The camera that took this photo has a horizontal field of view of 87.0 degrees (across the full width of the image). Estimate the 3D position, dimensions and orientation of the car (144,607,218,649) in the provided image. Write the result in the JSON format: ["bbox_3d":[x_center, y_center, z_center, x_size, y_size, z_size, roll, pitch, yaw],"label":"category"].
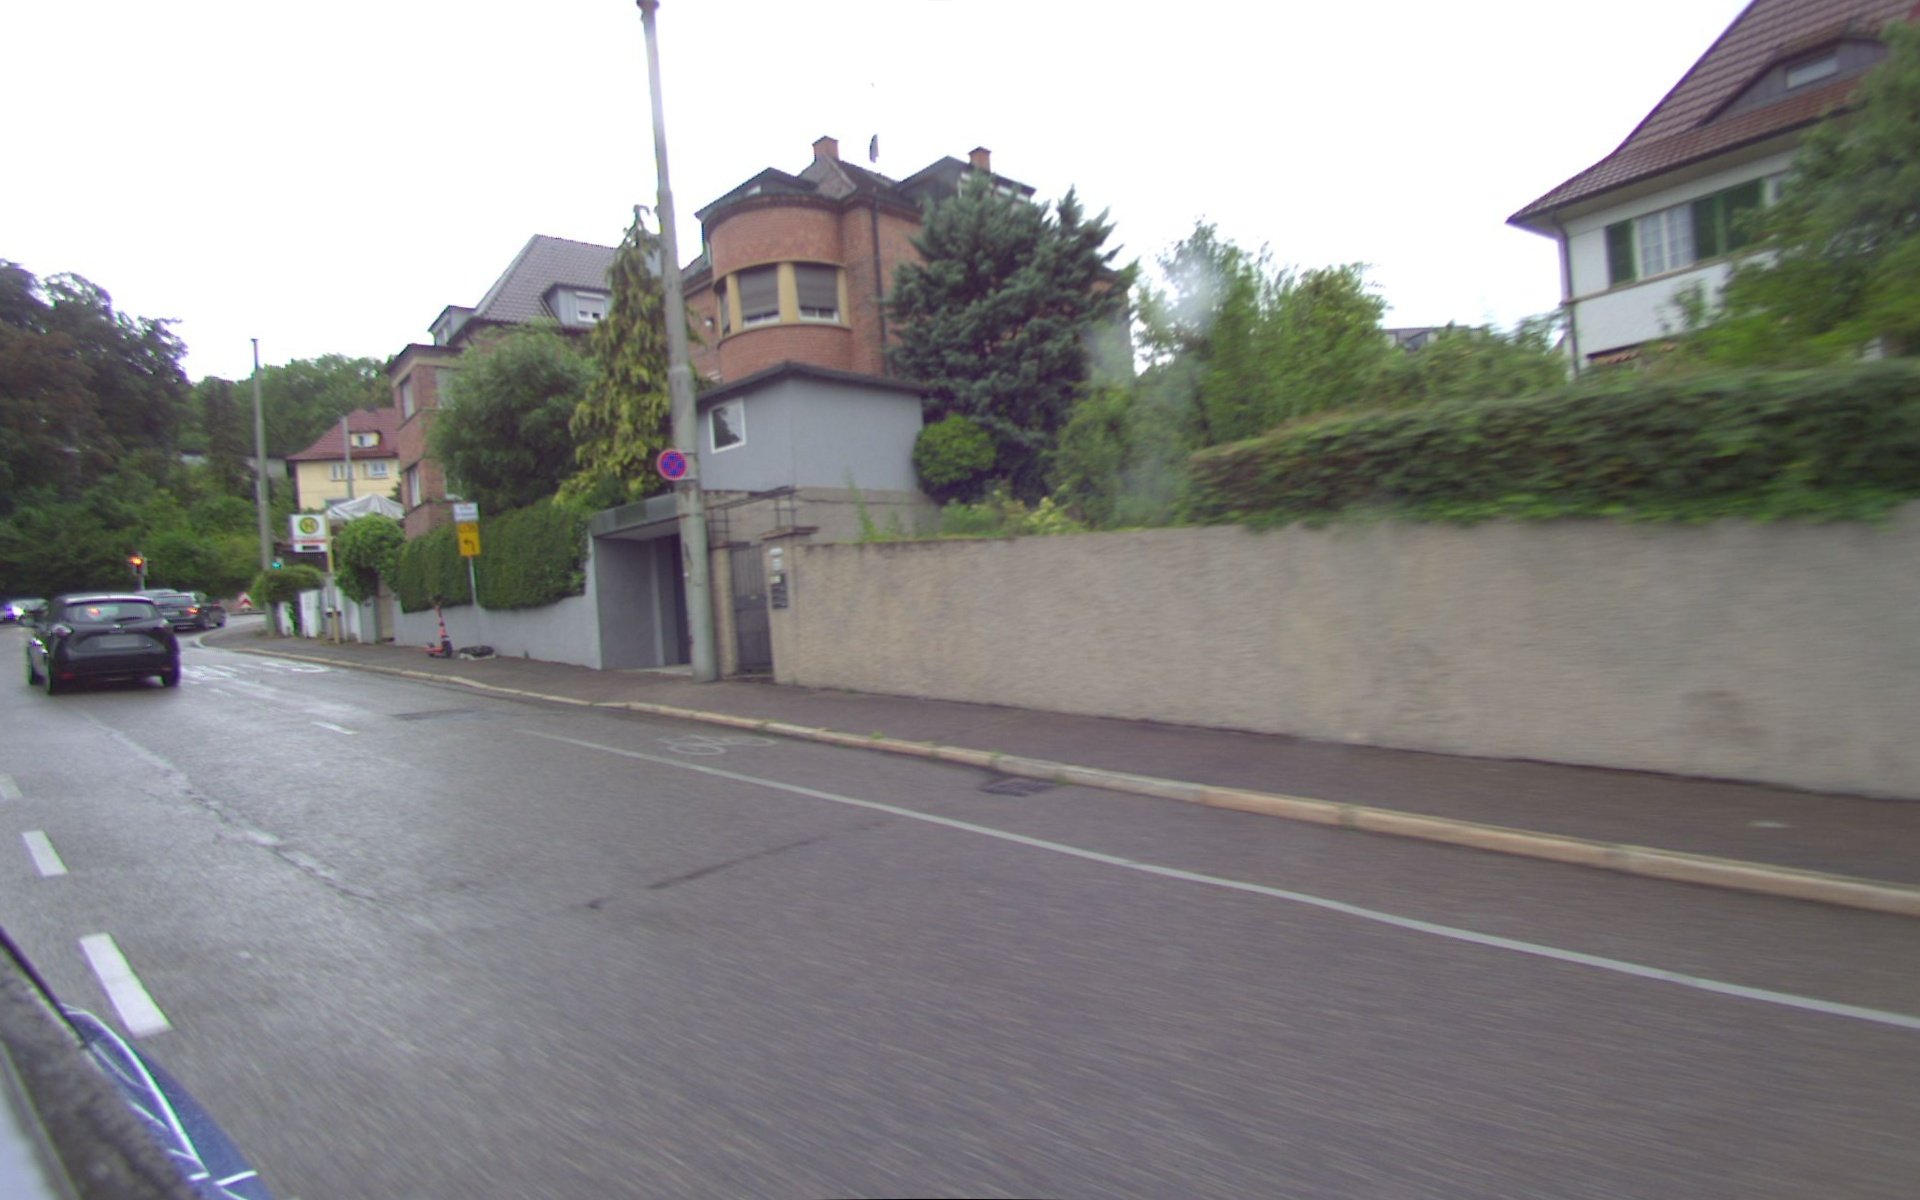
[{"bbox_3d":[-30.228,1.049,39.392,1.713,1.461,4.629,-1,1,-31],"label":"car"}]

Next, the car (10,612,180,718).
[{"bbox_3d":[-14.729,1.013,17.169,3.975,1.532,1.748,-1,0,43],"label":"car"}]

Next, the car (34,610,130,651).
[{"bbox_3d":[-35.828,1.203,41.442,1.821,1.485,4.456,-1,1,-25],"label":"car"}]

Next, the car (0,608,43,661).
[{"bbox_3d":[-46.043,1.725,49.008,1.968,2.028,4.008,-5,-4,-37],"label":"car"}]

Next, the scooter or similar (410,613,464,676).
[{"bbox_3d":[-10.449,0.868,20.204,1.436,1.213,0.516,-1,-1,44],"label":"scooter or similar"}]

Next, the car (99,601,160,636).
[{"bbox_3d":[-39.264,0.844,47.821,1.837,1.405,4.600,-4,3,-44],"label":"car"}]
